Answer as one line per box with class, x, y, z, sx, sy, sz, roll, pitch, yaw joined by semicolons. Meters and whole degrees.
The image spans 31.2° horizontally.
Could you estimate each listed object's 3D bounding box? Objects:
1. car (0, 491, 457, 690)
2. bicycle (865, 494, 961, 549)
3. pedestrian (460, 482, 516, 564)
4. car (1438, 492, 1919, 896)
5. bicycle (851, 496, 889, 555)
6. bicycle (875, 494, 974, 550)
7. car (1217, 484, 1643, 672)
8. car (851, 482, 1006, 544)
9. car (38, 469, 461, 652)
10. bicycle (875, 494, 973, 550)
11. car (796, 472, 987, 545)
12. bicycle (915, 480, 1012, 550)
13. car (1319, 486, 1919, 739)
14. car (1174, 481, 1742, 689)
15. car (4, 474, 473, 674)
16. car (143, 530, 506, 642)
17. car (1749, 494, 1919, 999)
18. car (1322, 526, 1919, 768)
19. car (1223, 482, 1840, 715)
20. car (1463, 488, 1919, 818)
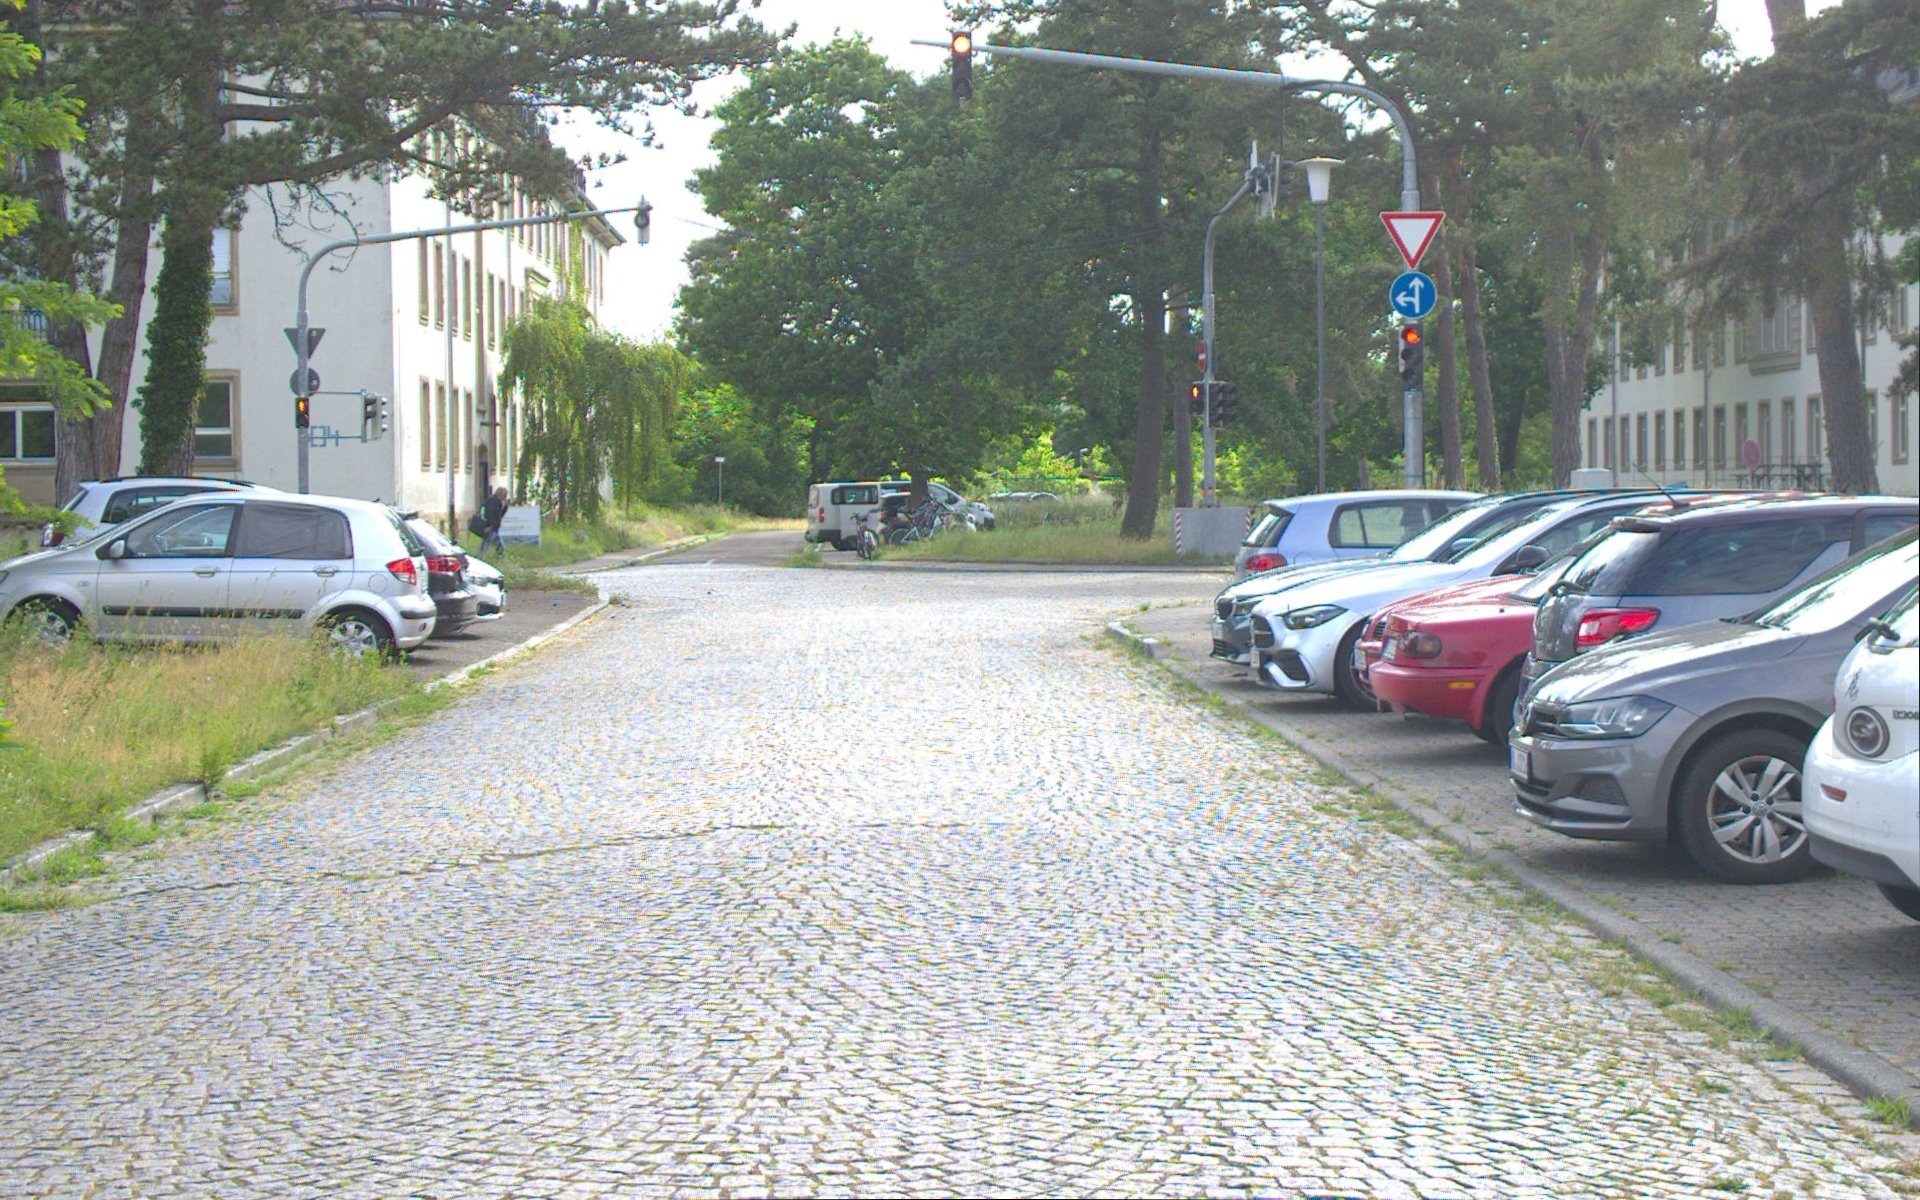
car;-6.221;-0.108;28.575;3.986;1.546;2.001;-1;2;-8
bicycle;-1.106;-1.833;80.280;2.160;1.264;0.813;0;2;-8
pedestrian;-8.621;-1.410;62.872;0.898;1.493;0.904;0;2;-1
car;3.967;0.313;14.166;3.597;1.501;1.665;-1;2;-12
bicycle;-1.950;-1.630;74.701;0.810;1.264;1.973;0;2;-1
bicycle;-0.810;-1.792;78.486;2.160;1.264;0.813;0;2;-8
car;4.023;-0.216;29.625;3.388;1.538;1.391;-1;2;-7
car;-0.860;-2.362;93.028;3.986;1.638;2.001;0;2;-7
car;-6.973;-0.420;34.100;3.986;1.744;1.928;0;2;-8
bicycle;-0.832;-1.805;79.073;2.160;1.264;0.813;0;2;-8
car;-1.926;-2.578;96.276;5.049;2.006;2.001;0;2;-12
bicycle;0.078;-1.981;79.800;2.160;1.610;0.813;0;2;-8
car;4.441;0.039;22.017;3.986;1.538;1.664;0;2;-7
car;3.873;-0.147;27.051;4.122;1.538;1.665;-1;2;-7
car;-6.435;-0.272;31.058;3.986;1.700;2.001;-1;2;-8
car;-6.649;-0.165;36.287;3.670;1.090;1.647;-1;2;-8
car;4.439;0.402;11.222;3.292;1.499;1.664;-1;2;-3
car;3.888;0.237;19.761;3.291;1.263;1.665;-1;2;-7
car;3.984;-0.045;24.269;3.986;1.538;1.665;-1;2;-7
car;4.351;0.206;17.053;3.291;1.499;1.665;-1;2;-12
